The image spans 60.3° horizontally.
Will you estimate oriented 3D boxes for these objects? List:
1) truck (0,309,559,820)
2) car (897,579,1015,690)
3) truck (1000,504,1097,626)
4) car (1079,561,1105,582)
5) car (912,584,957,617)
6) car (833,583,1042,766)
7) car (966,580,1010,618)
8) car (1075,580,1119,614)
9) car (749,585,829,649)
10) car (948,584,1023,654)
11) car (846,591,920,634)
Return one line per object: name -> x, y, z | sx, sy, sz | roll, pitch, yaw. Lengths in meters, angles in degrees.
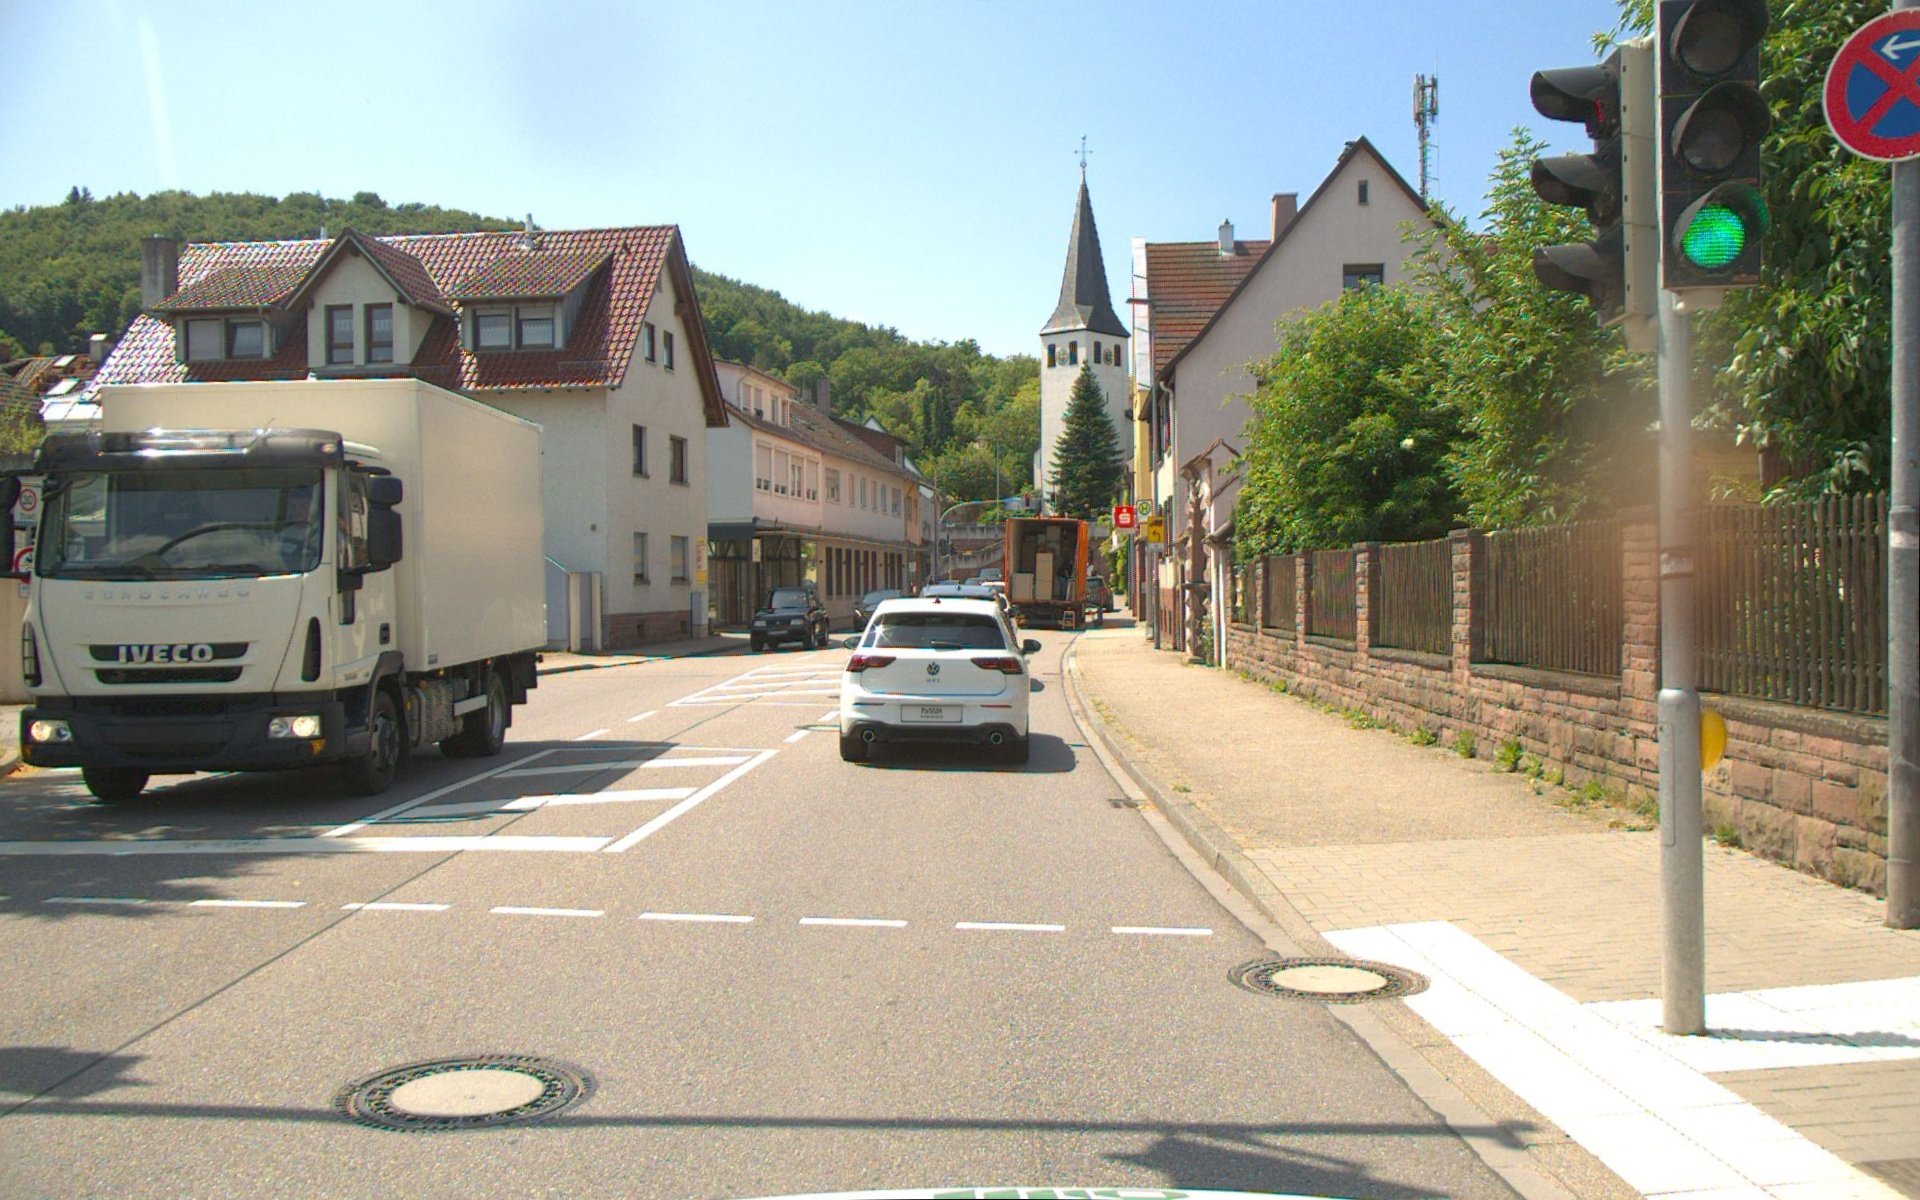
truck -> -5.264, -0.223, 13.798 | 2.451, 3.292, 6.038 | -1, 0, -1
car -> -0.017, 0.544, 27.588 | 1.778, 1.657, 4.000 | -2, 0, 1
truck -> 3.436, -1.245, 63.725 | 3.296, 4.243, 9.523 | -2, 0, 3
car -> 10.472, -2.238, 131.061 | 1.778, 1.545, 4.000 | -2, 0, 1
car -> -1.218, 0.043, 81.544 | 1.757, 1.534, 4.136 | -2, 0, 5
car -> -0.152, 0.643, 16.148 | 1.777, 1.545, 4.000 | 0, 0, 1
car -> 1.222, -0.051, 71.589 | 1.778, 1.545, 4.000 | -2, 0, 1
car -> 6.502, -0.127, 78.866 | 1.778, 1.545, 4.000 | -2, 0, 1
car -> -4.669, 0.428, 45.519 | 1.703, 1.680, 3.669 | -1, 0, 2
car -> 0.665, 0.472, 42.367 | 1.778, 1.657, 4.000 | -2, 0, 1
car -> -2.788, 0.451, 60.893 | 1.823, 1.467, 4.221 | -2, 0, 9
